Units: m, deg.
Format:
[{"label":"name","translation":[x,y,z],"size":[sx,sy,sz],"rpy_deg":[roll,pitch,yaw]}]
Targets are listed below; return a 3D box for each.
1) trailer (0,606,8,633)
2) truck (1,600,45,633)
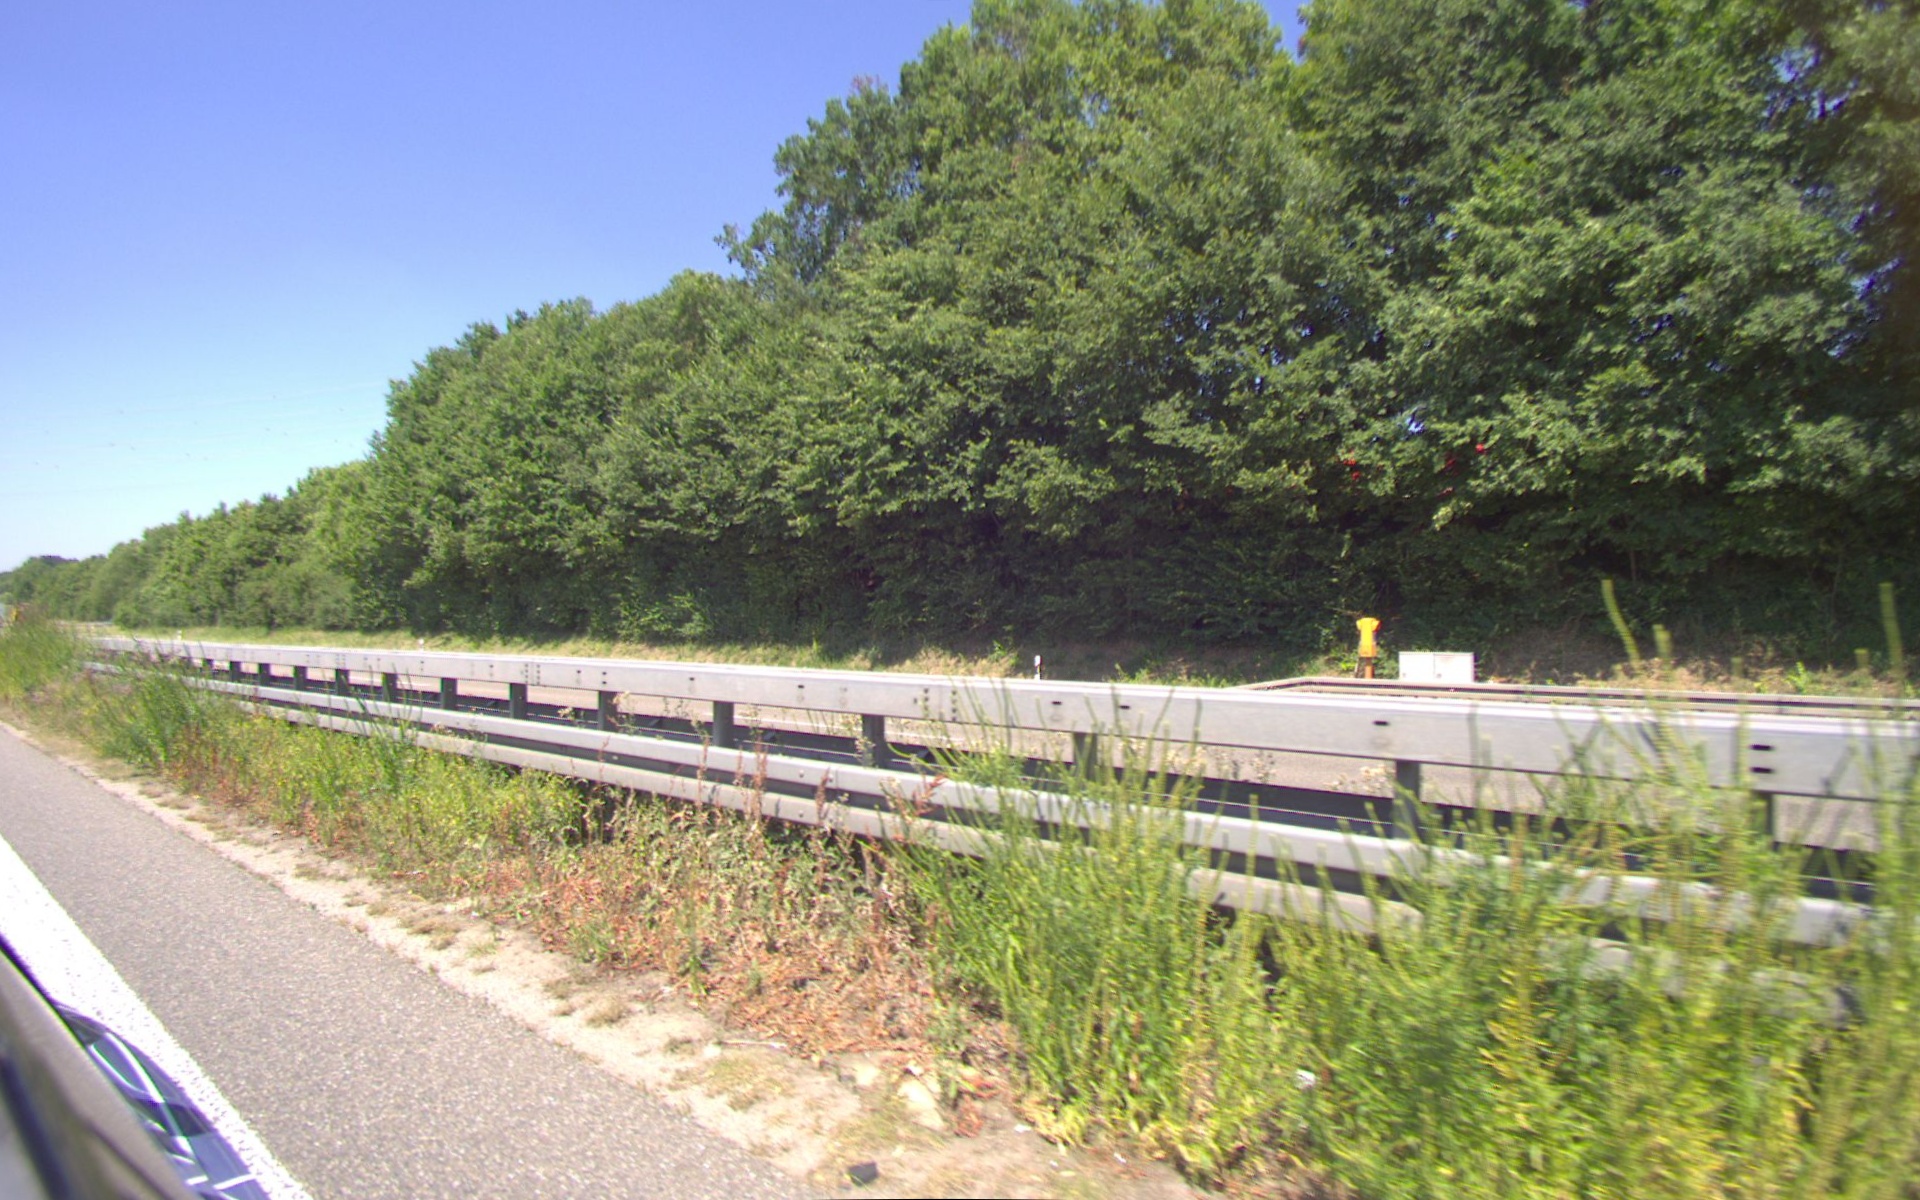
[{"label":"trailer","translation":[-156.482,3.196,163.169],"size":[7.965,4.312,3.418],"rpy_deg":[-1,0,40]},{"label":"truck","translation":[-114.417,1.985,123.479],"size":[11.152,3.766,2.754],"rpy_deg":[-1,0,41]}]
